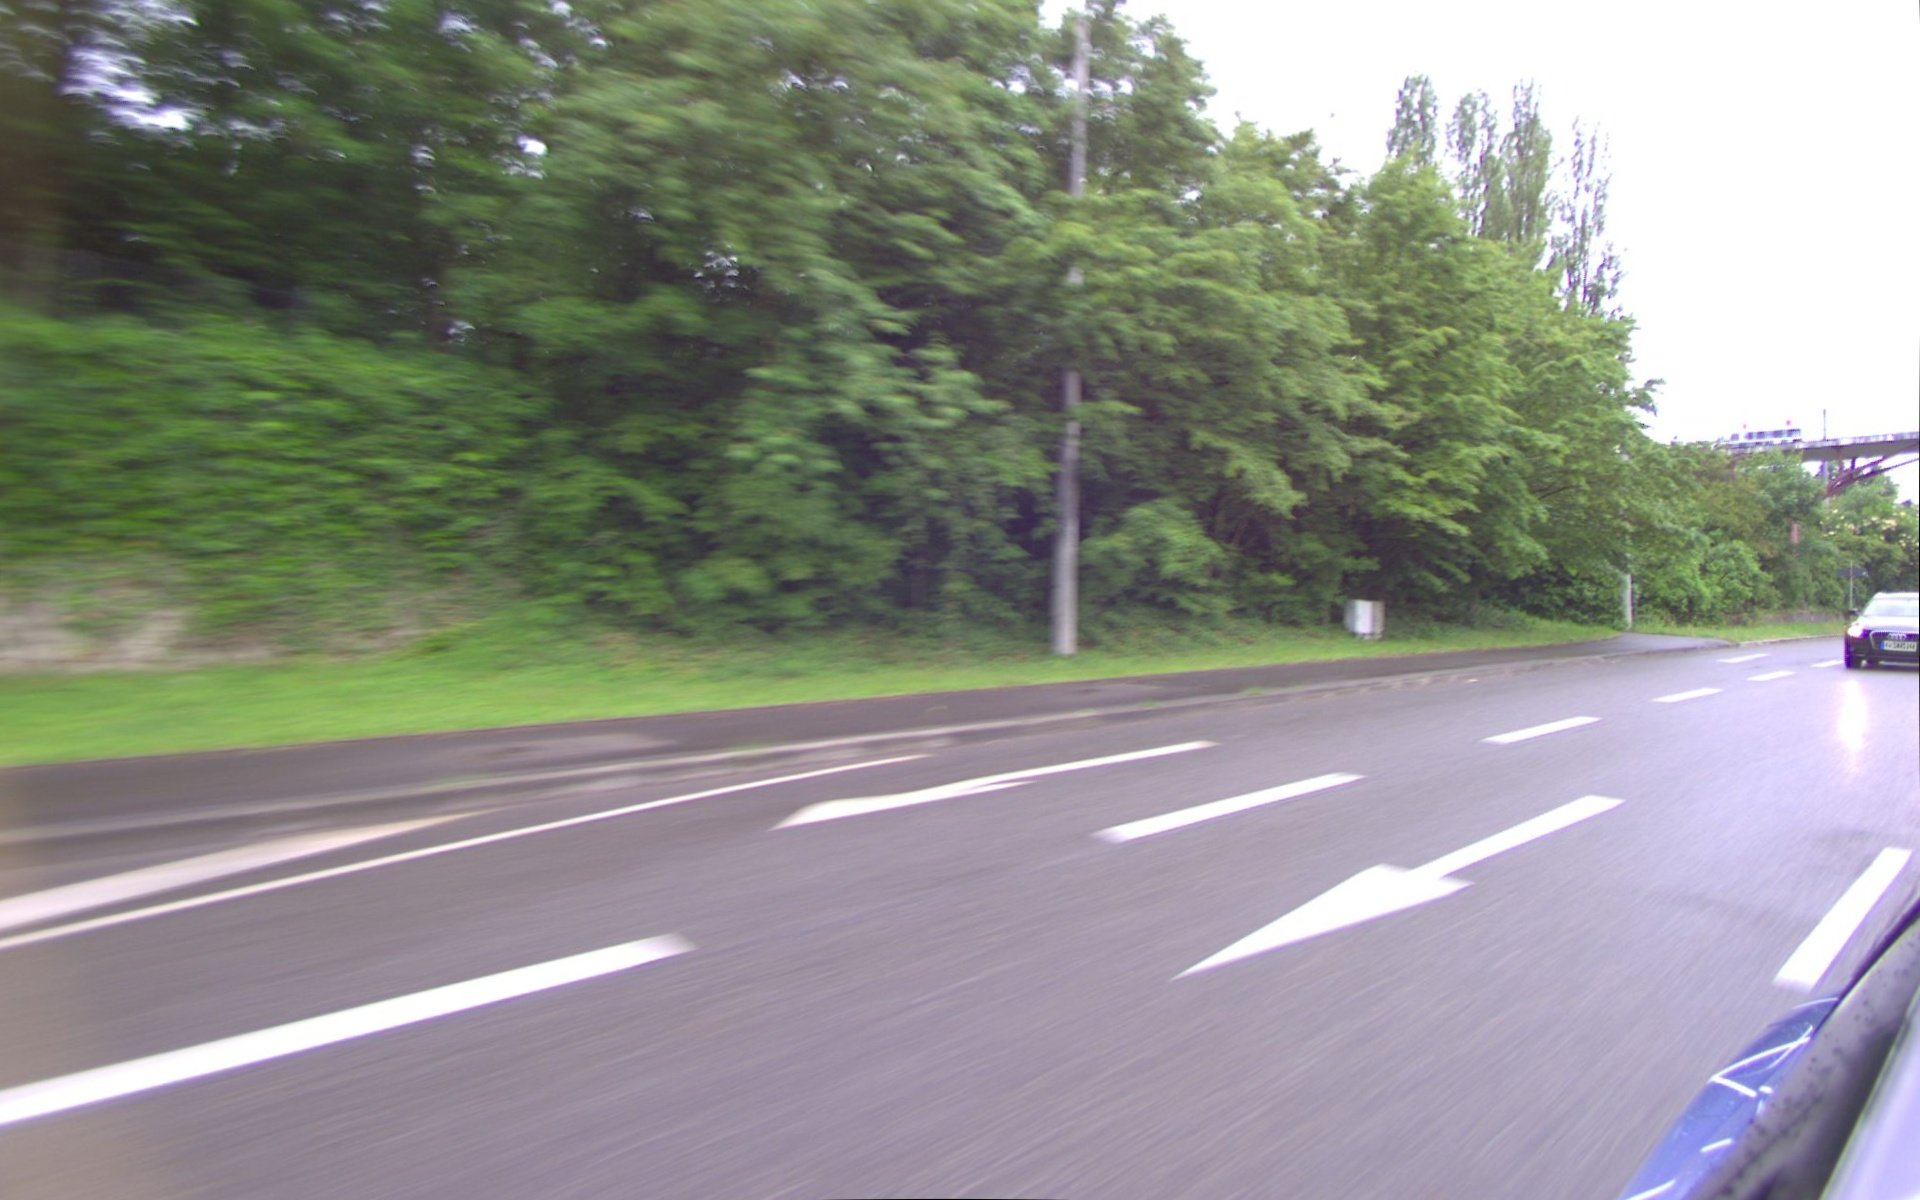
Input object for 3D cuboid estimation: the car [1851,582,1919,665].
[{"bbox_3d":[20.445,0.453,21.388,4.205,1.621,1.926,-1,2,-42],"label":"car"}]
